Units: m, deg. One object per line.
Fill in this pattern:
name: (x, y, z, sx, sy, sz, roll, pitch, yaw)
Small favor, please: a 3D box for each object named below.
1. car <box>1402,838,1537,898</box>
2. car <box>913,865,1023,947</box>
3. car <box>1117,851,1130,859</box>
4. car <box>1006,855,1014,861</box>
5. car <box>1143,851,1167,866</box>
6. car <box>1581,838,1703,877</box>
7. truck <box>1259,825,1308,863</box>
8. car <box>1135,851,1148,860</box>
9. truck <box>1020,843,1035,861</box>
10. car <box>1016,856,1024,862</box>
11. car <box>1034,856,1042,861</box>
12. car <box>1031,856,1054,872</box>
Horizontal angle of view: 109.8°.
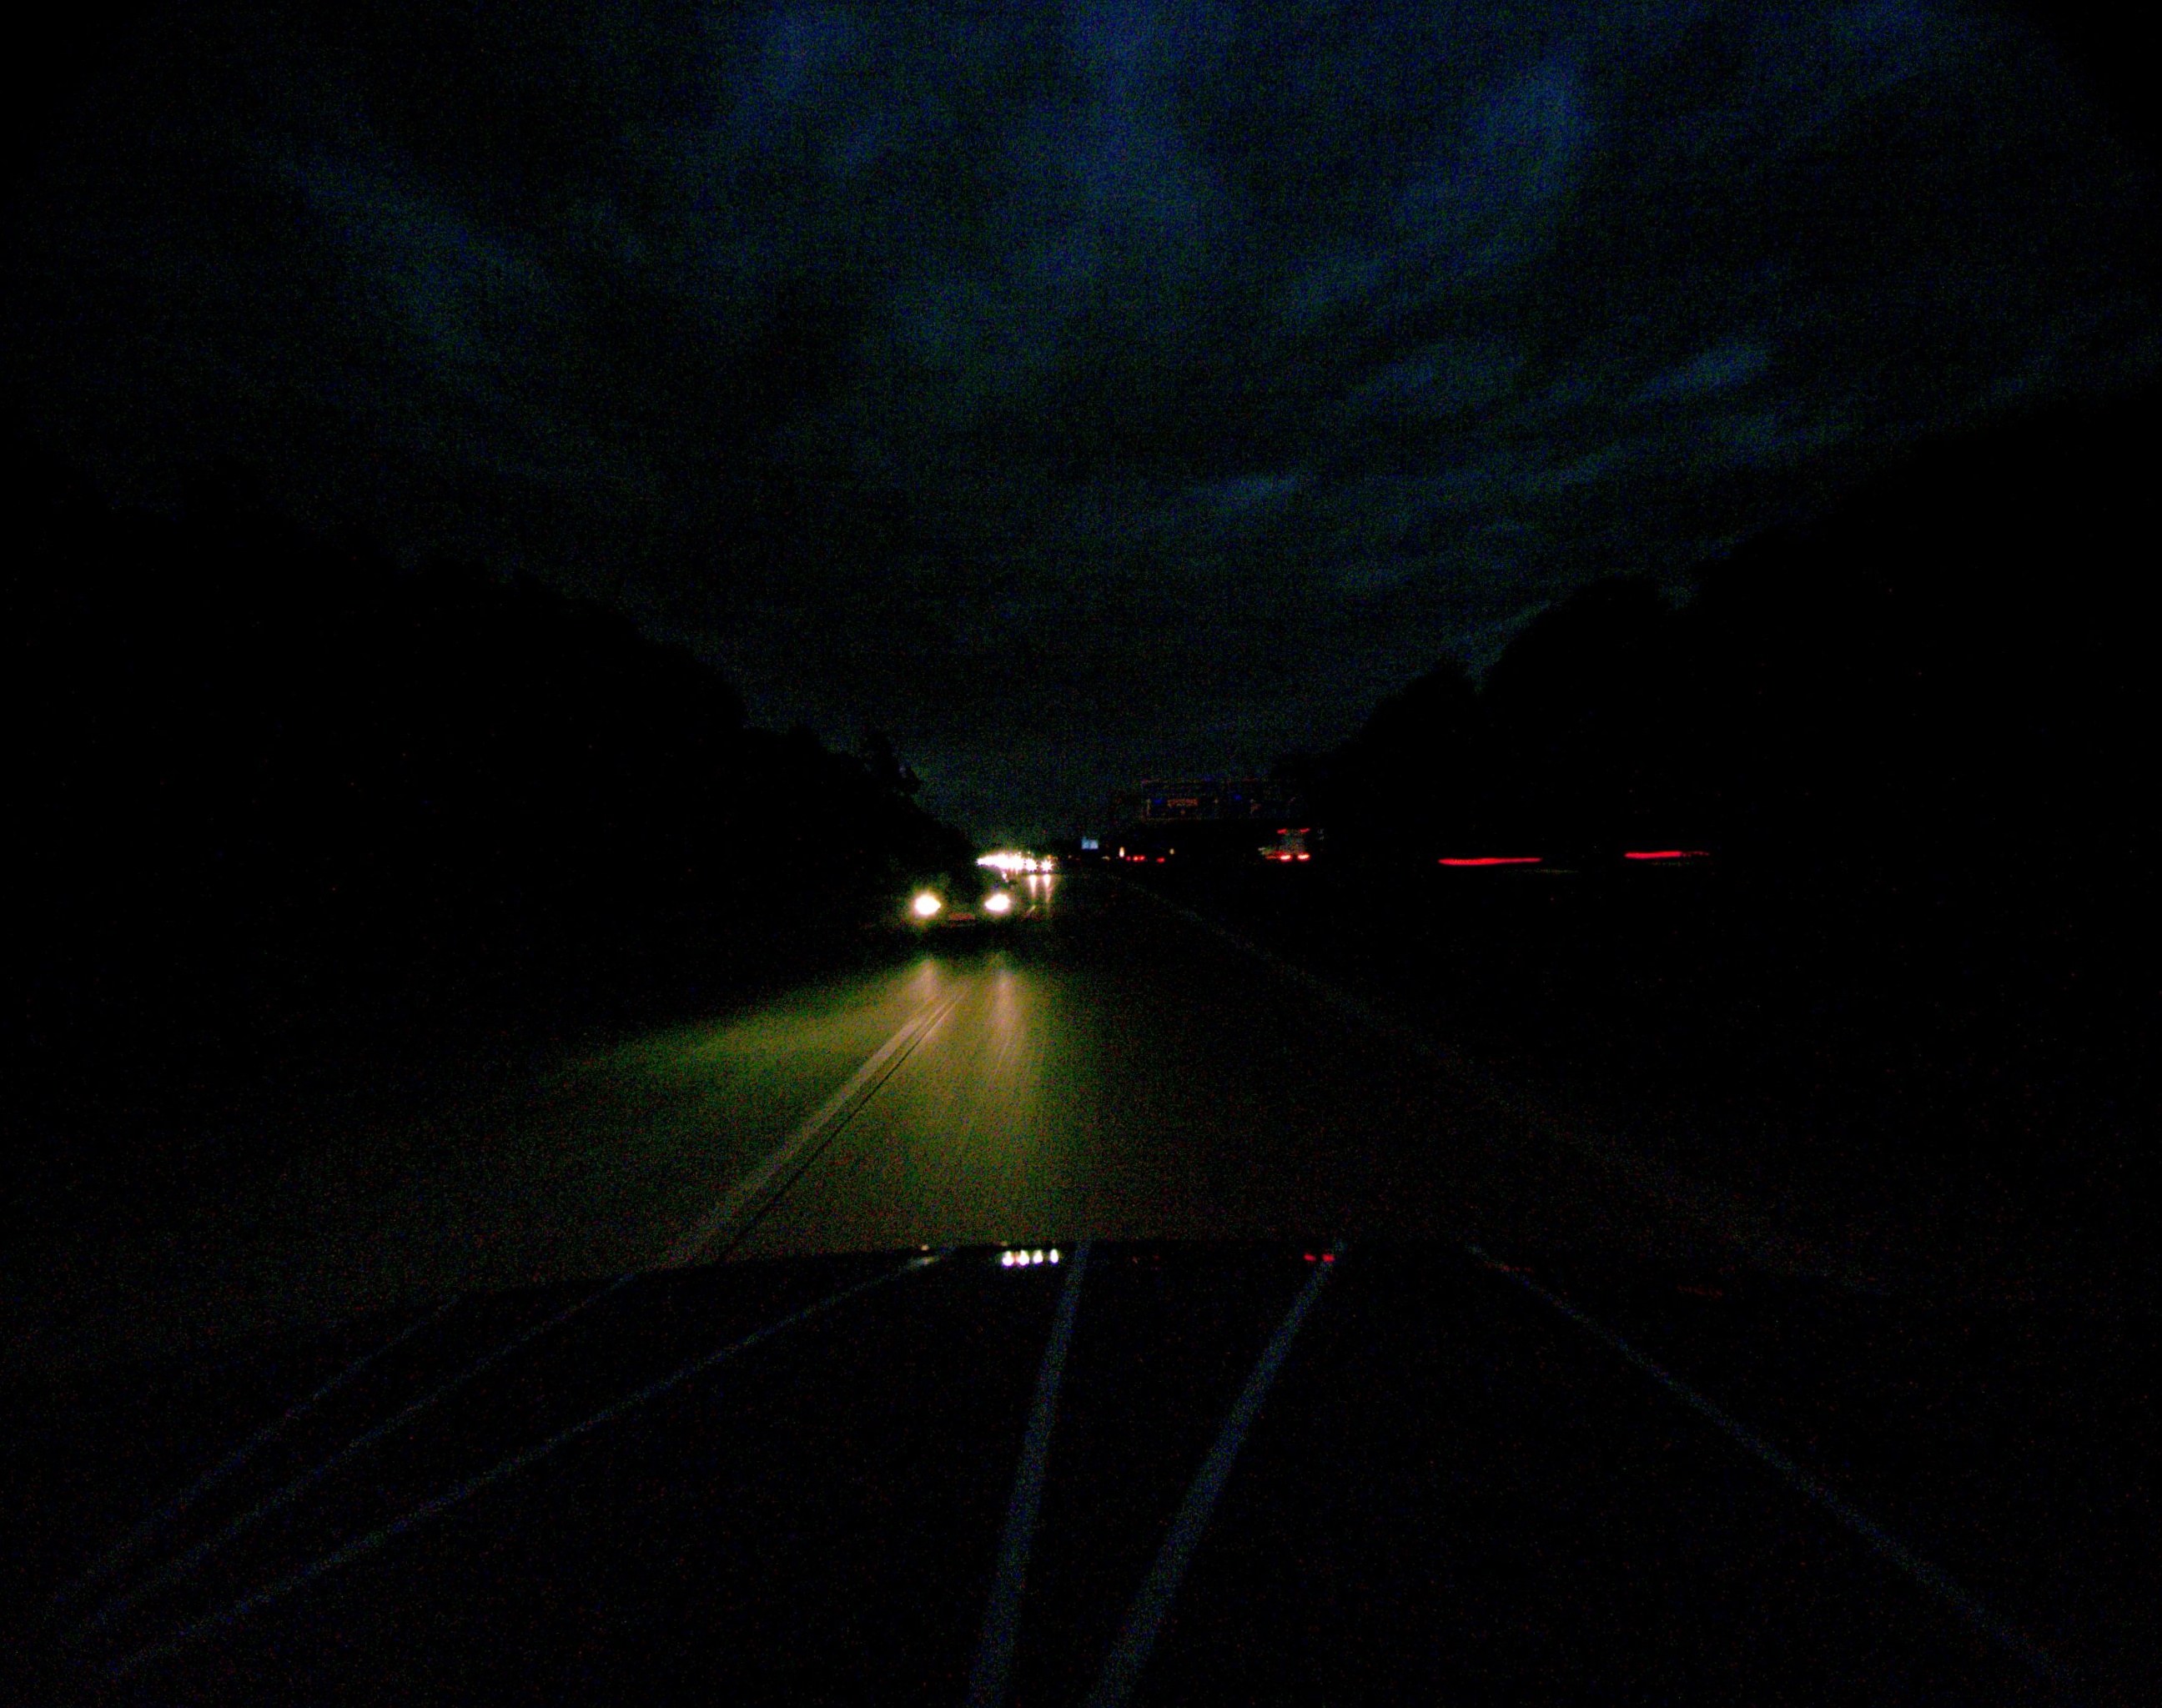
car: (12.311, 0.394, 24.489, 1.998, 1.695, 4.550, -2, 0, 0)
car: (-2.282, 1.004, 16.455, 1.880, 1.435, 4.450, -2, 0, -3)
car: (7.353, 0.165, 132.619, 1.743, 1.402, 4.805, -2, 0, -3)
car: (-21.713, 1.243, 232.284, 1.999, 1.539, 3.999, -2, 0, -3)
car: (8.606, 0.515, 88.378, 1.999, 1.591, 4.820, -2, 0, -3)
car: (23.817, 0.147, 32.499, 1.855, 1.488, 4.595, -2, 0, 1)
truck: (23.236, -1.106, 87.710, 2.652, 3.987, 10.543, -2, 0, 0)
car: (12.899, 0.251, 162.091, 1.999, 1.787, 4.371, -2, 0, -3)
truck: (-12.225, -0.451, 174.843, 3.146, 3.987, 10.540, -2, 0, -4)
car: (-15.863, 1.262, 197.824, 1.999, 1.539, 3.999, -2, 0, -3)
car: (-13.049, 1.222, 230.109, 1.819, 1.372, 4.198, -2, 0, 1)
car: (-3.779, 0.964, 74.840, 1.998, 1.539, 4.000, -2, 0, 1)
